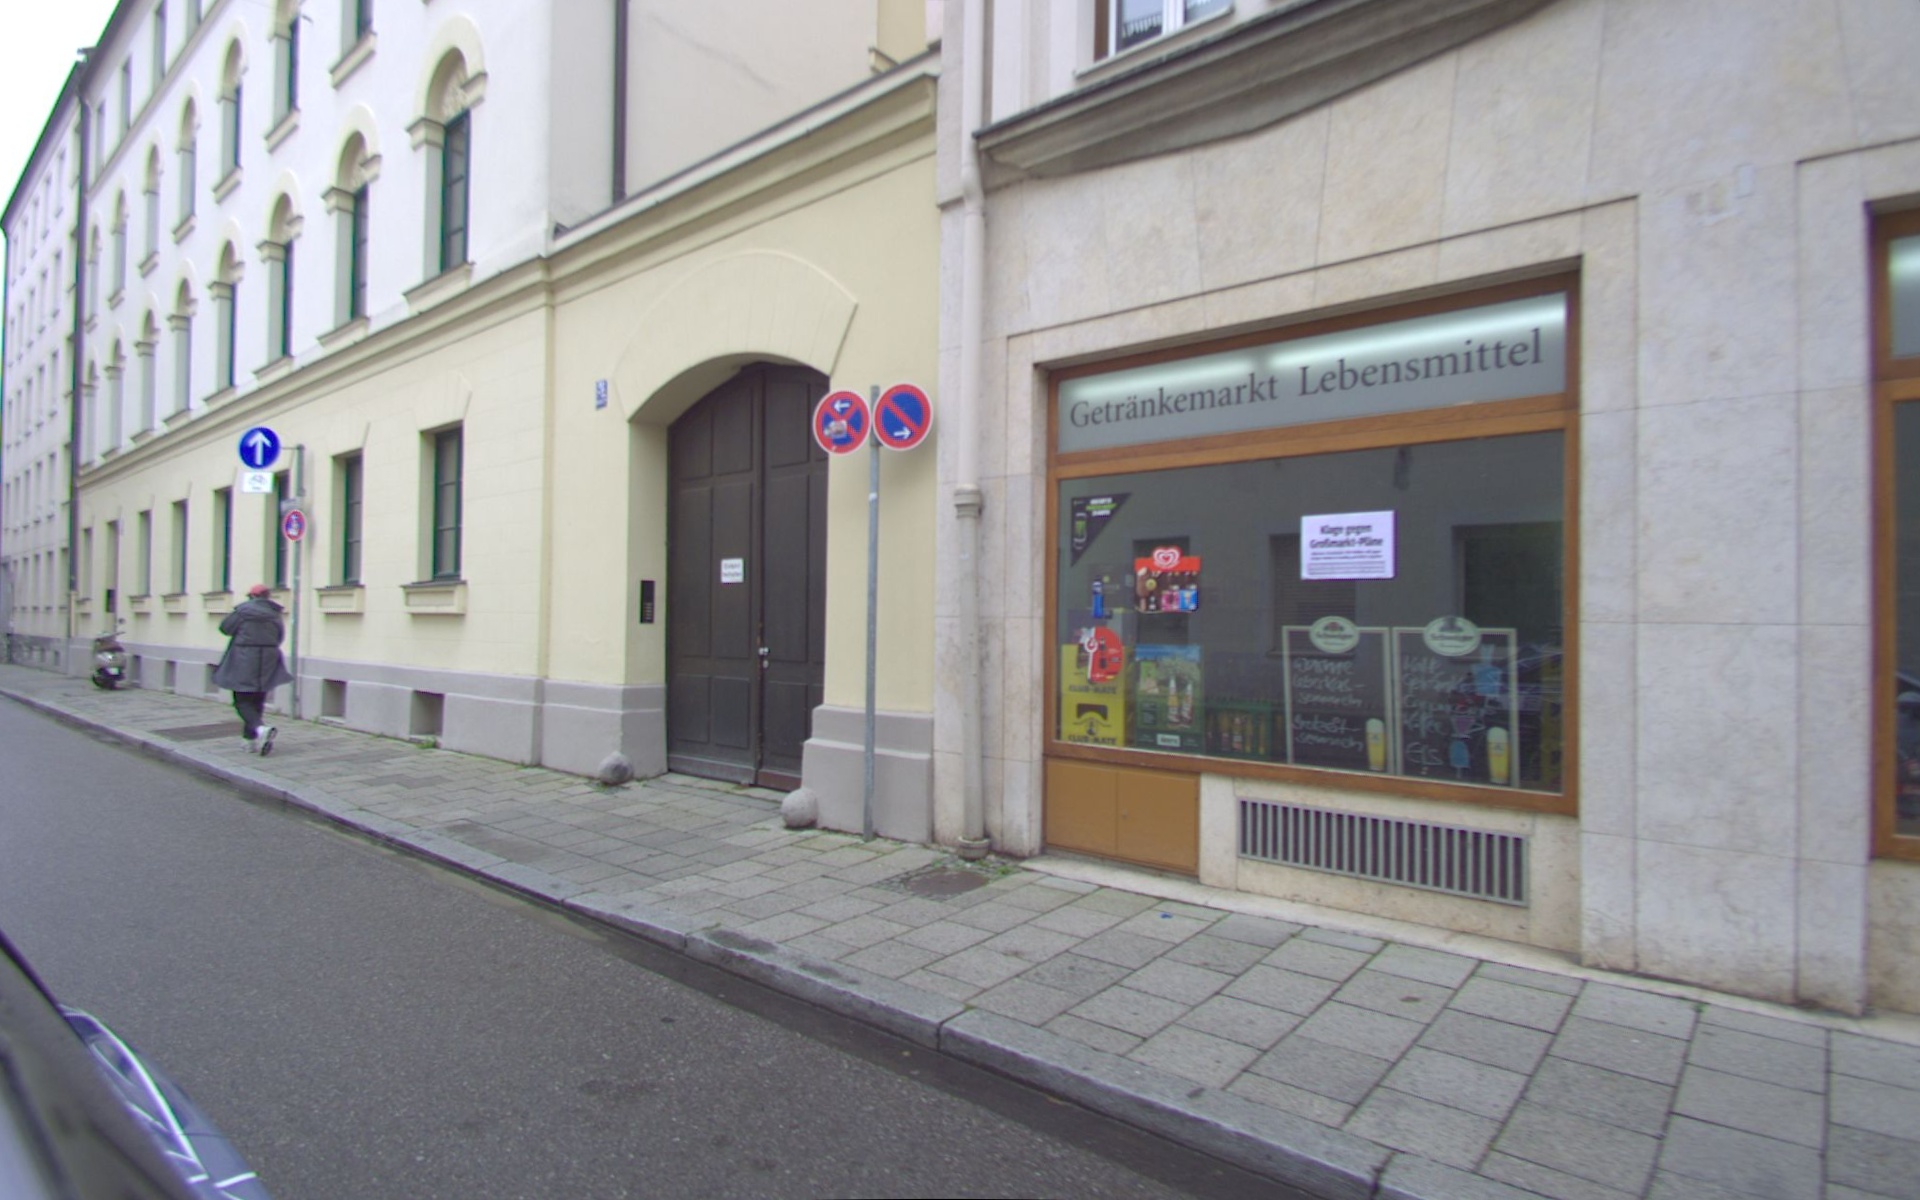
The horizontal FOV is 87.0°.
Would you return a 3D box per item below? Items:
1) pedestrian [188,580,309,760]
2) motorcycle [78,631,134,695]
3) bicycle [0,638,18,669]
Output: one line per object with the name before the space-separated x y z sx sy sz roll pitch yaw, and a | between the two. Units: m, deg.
pedestrian | -7.472 0.711 10.625 0.989 1.769 0.801 -3 -3 39
motorcycle | -16.807 1.212 19.908 1.708 1.183 0.596 -1 -2 42
bicycle | -30.389 1.692 32.316 1.574 0.951 0.316 -2 0 43
